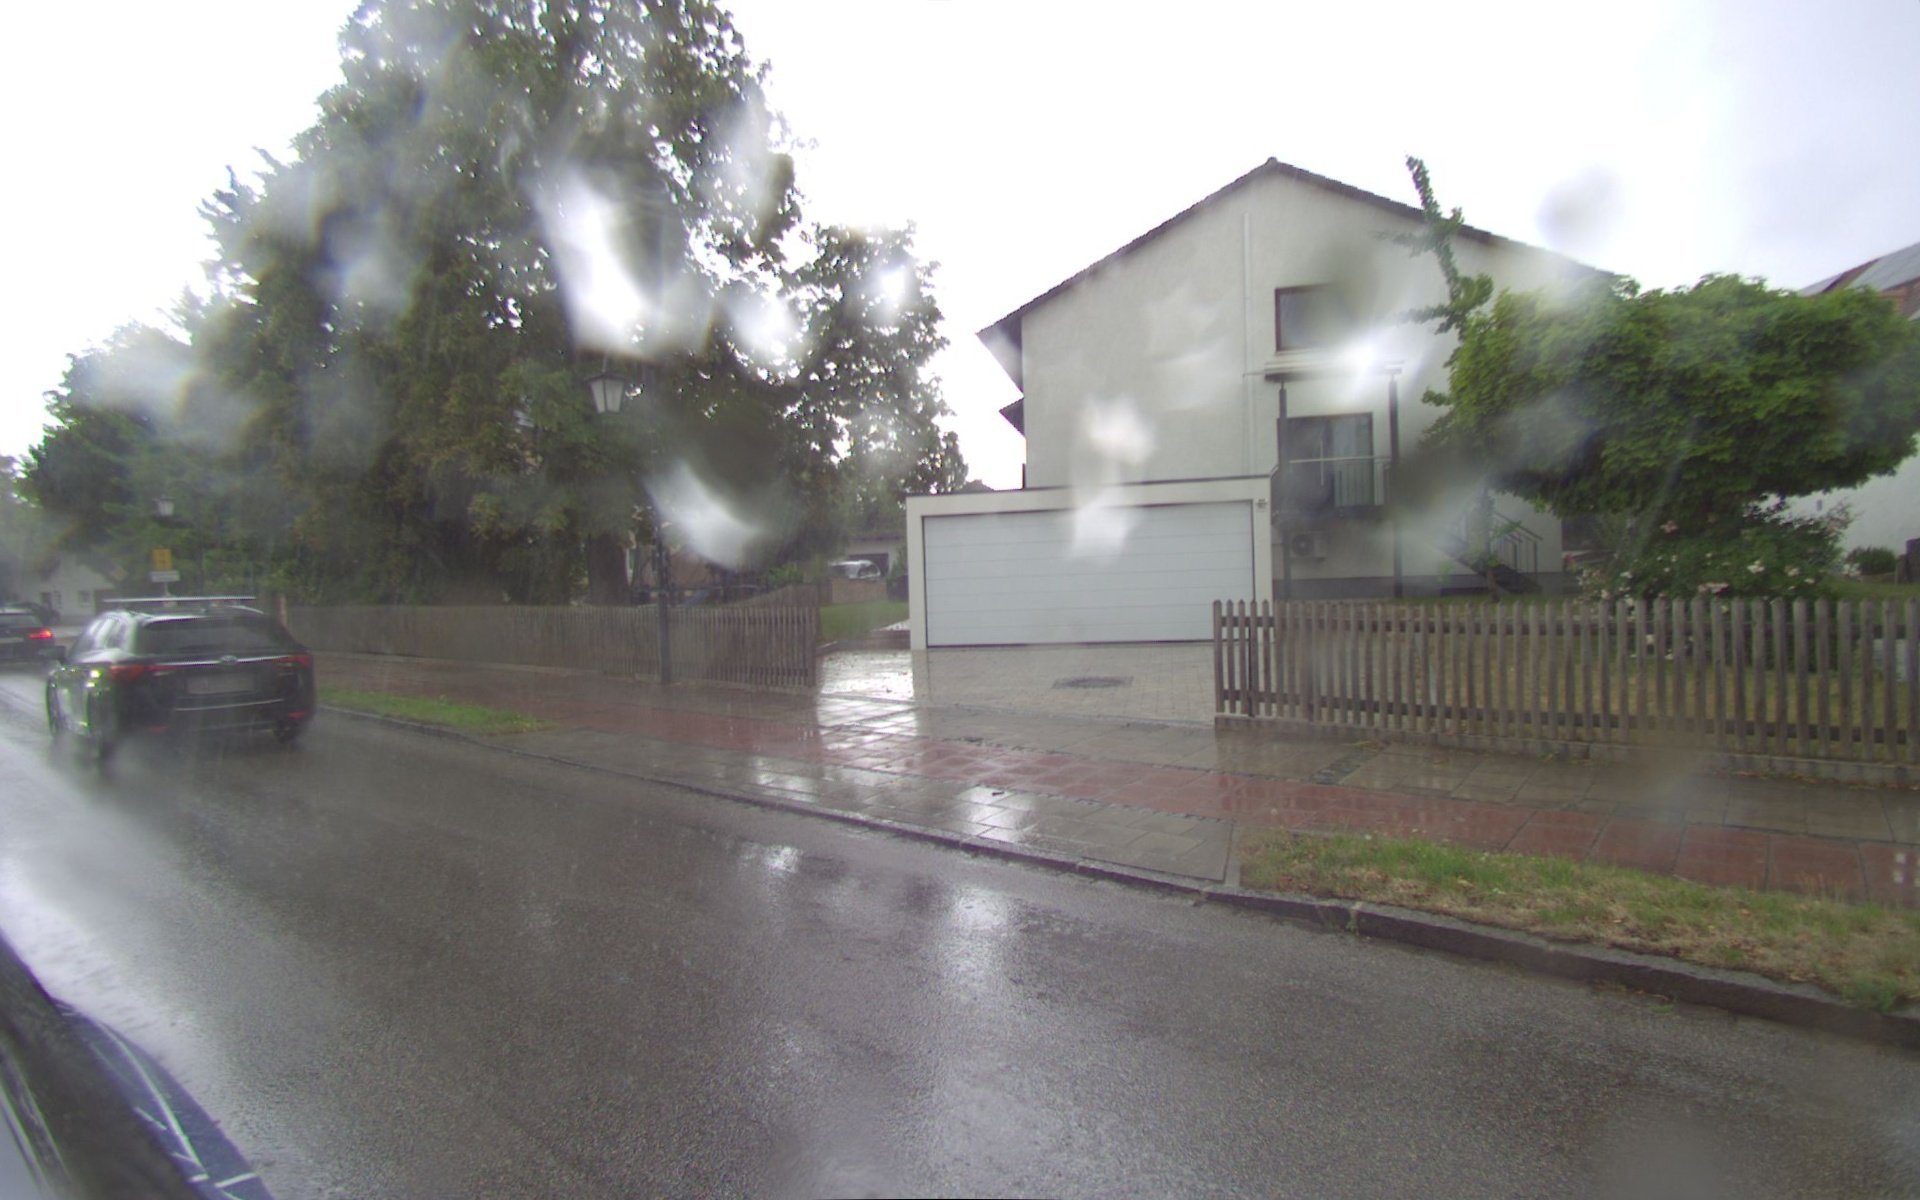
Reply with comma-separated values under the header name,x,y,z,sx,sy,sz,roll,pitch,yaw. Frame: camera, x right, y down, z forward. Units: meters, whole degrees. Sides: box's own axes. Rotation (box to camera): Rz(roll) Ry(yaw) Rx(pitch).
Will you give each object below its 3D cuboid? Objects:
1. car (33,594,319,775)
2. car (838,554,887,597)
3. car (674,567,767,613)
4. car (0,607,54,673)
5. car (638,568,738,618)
name,x,y,z,sx,sy,sz,roll,pitch,yaw
car,-8.464,0.761,10.784,4.186,1.532,1.621,-1,1,41
car,-5.444,-1.347,56.992,1.767,2.311,3.838,-1,0,11
car,-10.878,-0.473,46.093,3.613,1.815,1.839,-3,2,7
car,-23.849,0.964,24.850,4.371,1.476,1.762,-1,1,40
car,-11.610,-0.318,43.293,3.613,1.815,1.839,-3,2,7
